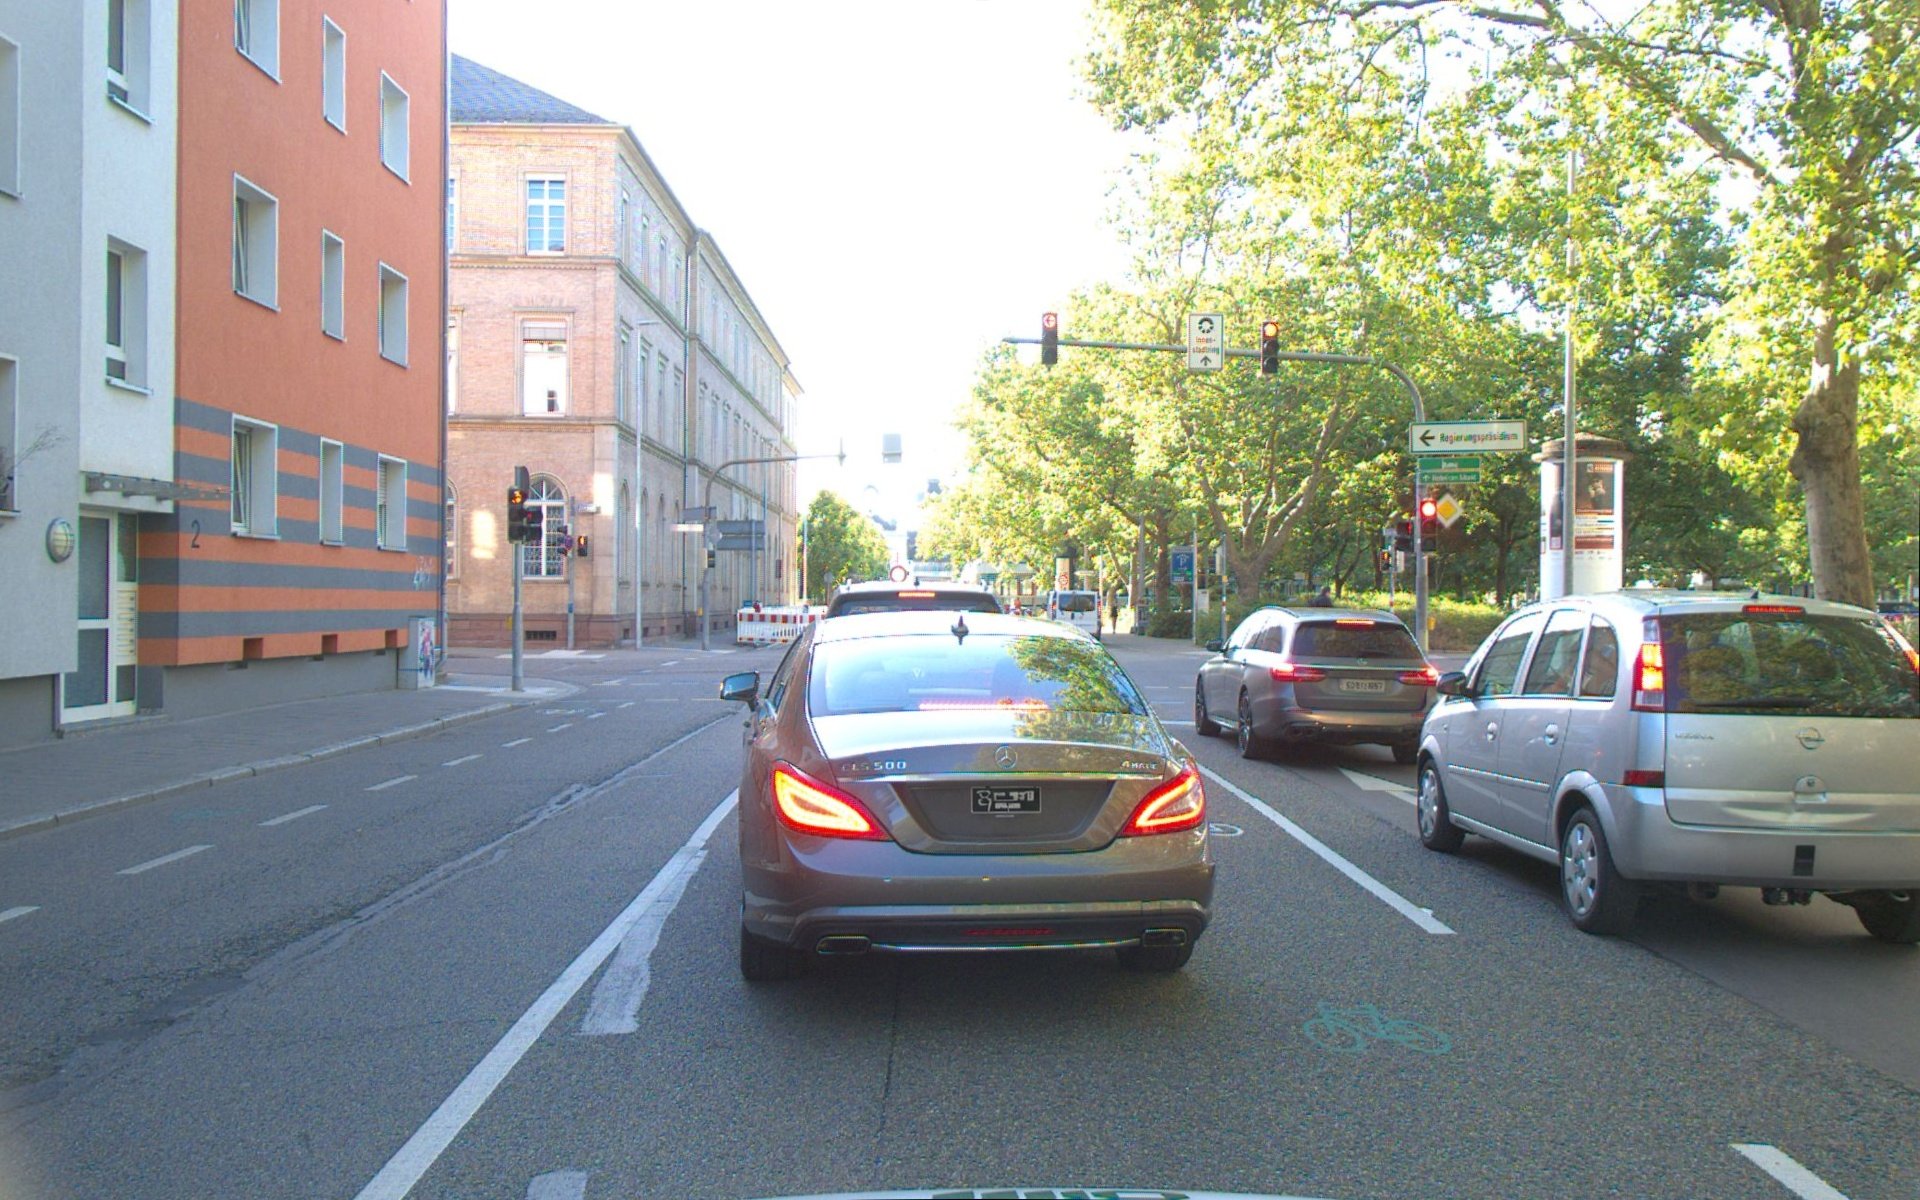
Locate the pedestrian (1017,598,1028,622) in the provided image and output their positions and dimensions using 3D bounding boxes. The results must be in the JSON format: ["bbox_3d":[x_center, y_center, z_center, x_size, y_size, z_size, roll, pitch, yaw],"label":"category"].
[{"bbox_3d":[3.849,0.592,101.215,0.635,1.458,0.659,0,0,-1],"label":"pedestrian"}]

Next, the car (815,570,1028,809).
[{"bbox_3d":[-0.366,0.630,13.670,1.487,1.675,3.878,1,0,-3],"label":"car"}]

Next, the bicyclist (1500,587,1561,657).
[{"bbox_3d":[12.631,0.485,36.644,1.094,1.516,0.711,0,0,-1],"label":"bicyclist"}]

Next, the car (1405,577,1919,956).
[{"bbox_3d":[3.773,0.718,9.111,1.666,1.631,3.860,0,0,1],"label":"car"}]

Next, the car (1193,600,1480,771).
[{"bbox_3d":[3.767,0.784,17.442,1.874,1.490,4.668,2,0,-1],"label":"car"}]

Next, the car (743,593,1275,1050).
[{"bbox_3d":[-0.100,0.716,7.648,1.769,1.482,4.343,0,0,-8],"label":"car"}]

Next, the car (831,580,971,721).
[{"bbox_3d":[-0.784,0.644,23.222,1.783,1.793,3.999,0,0,-1],"label":"car"}]

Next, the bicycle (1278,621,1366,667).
[{"bbox_3d":[7.854,0.943,35.908,1.760,0.963,0.613,1,0,-7],"label":"bicycle"}]

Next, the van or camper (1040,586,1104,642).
[{"bbox_3d":[4.114,0.487,61.532,1.953,1.975,4.593,0,0,-1],"label":"van or camper"}]

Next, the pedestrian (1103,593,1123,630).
[{"bbox_3d":[6.978,0.517,75.402,0.813,1.634,0.651,1,0,-1],"label":"pedestrian"}]

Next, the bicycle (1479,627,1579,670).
[{"bbox_3d":[12.595,1.064,36.637,1.946,0.919,0.733,0,0,-2],"label":"bicycle"}]

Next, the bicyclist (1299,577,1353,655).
[{"bbox_3d":[7.954,0.340,35.922,0.995,1.671,0.607,1,0,-7],"label":"bicyclist"}]
